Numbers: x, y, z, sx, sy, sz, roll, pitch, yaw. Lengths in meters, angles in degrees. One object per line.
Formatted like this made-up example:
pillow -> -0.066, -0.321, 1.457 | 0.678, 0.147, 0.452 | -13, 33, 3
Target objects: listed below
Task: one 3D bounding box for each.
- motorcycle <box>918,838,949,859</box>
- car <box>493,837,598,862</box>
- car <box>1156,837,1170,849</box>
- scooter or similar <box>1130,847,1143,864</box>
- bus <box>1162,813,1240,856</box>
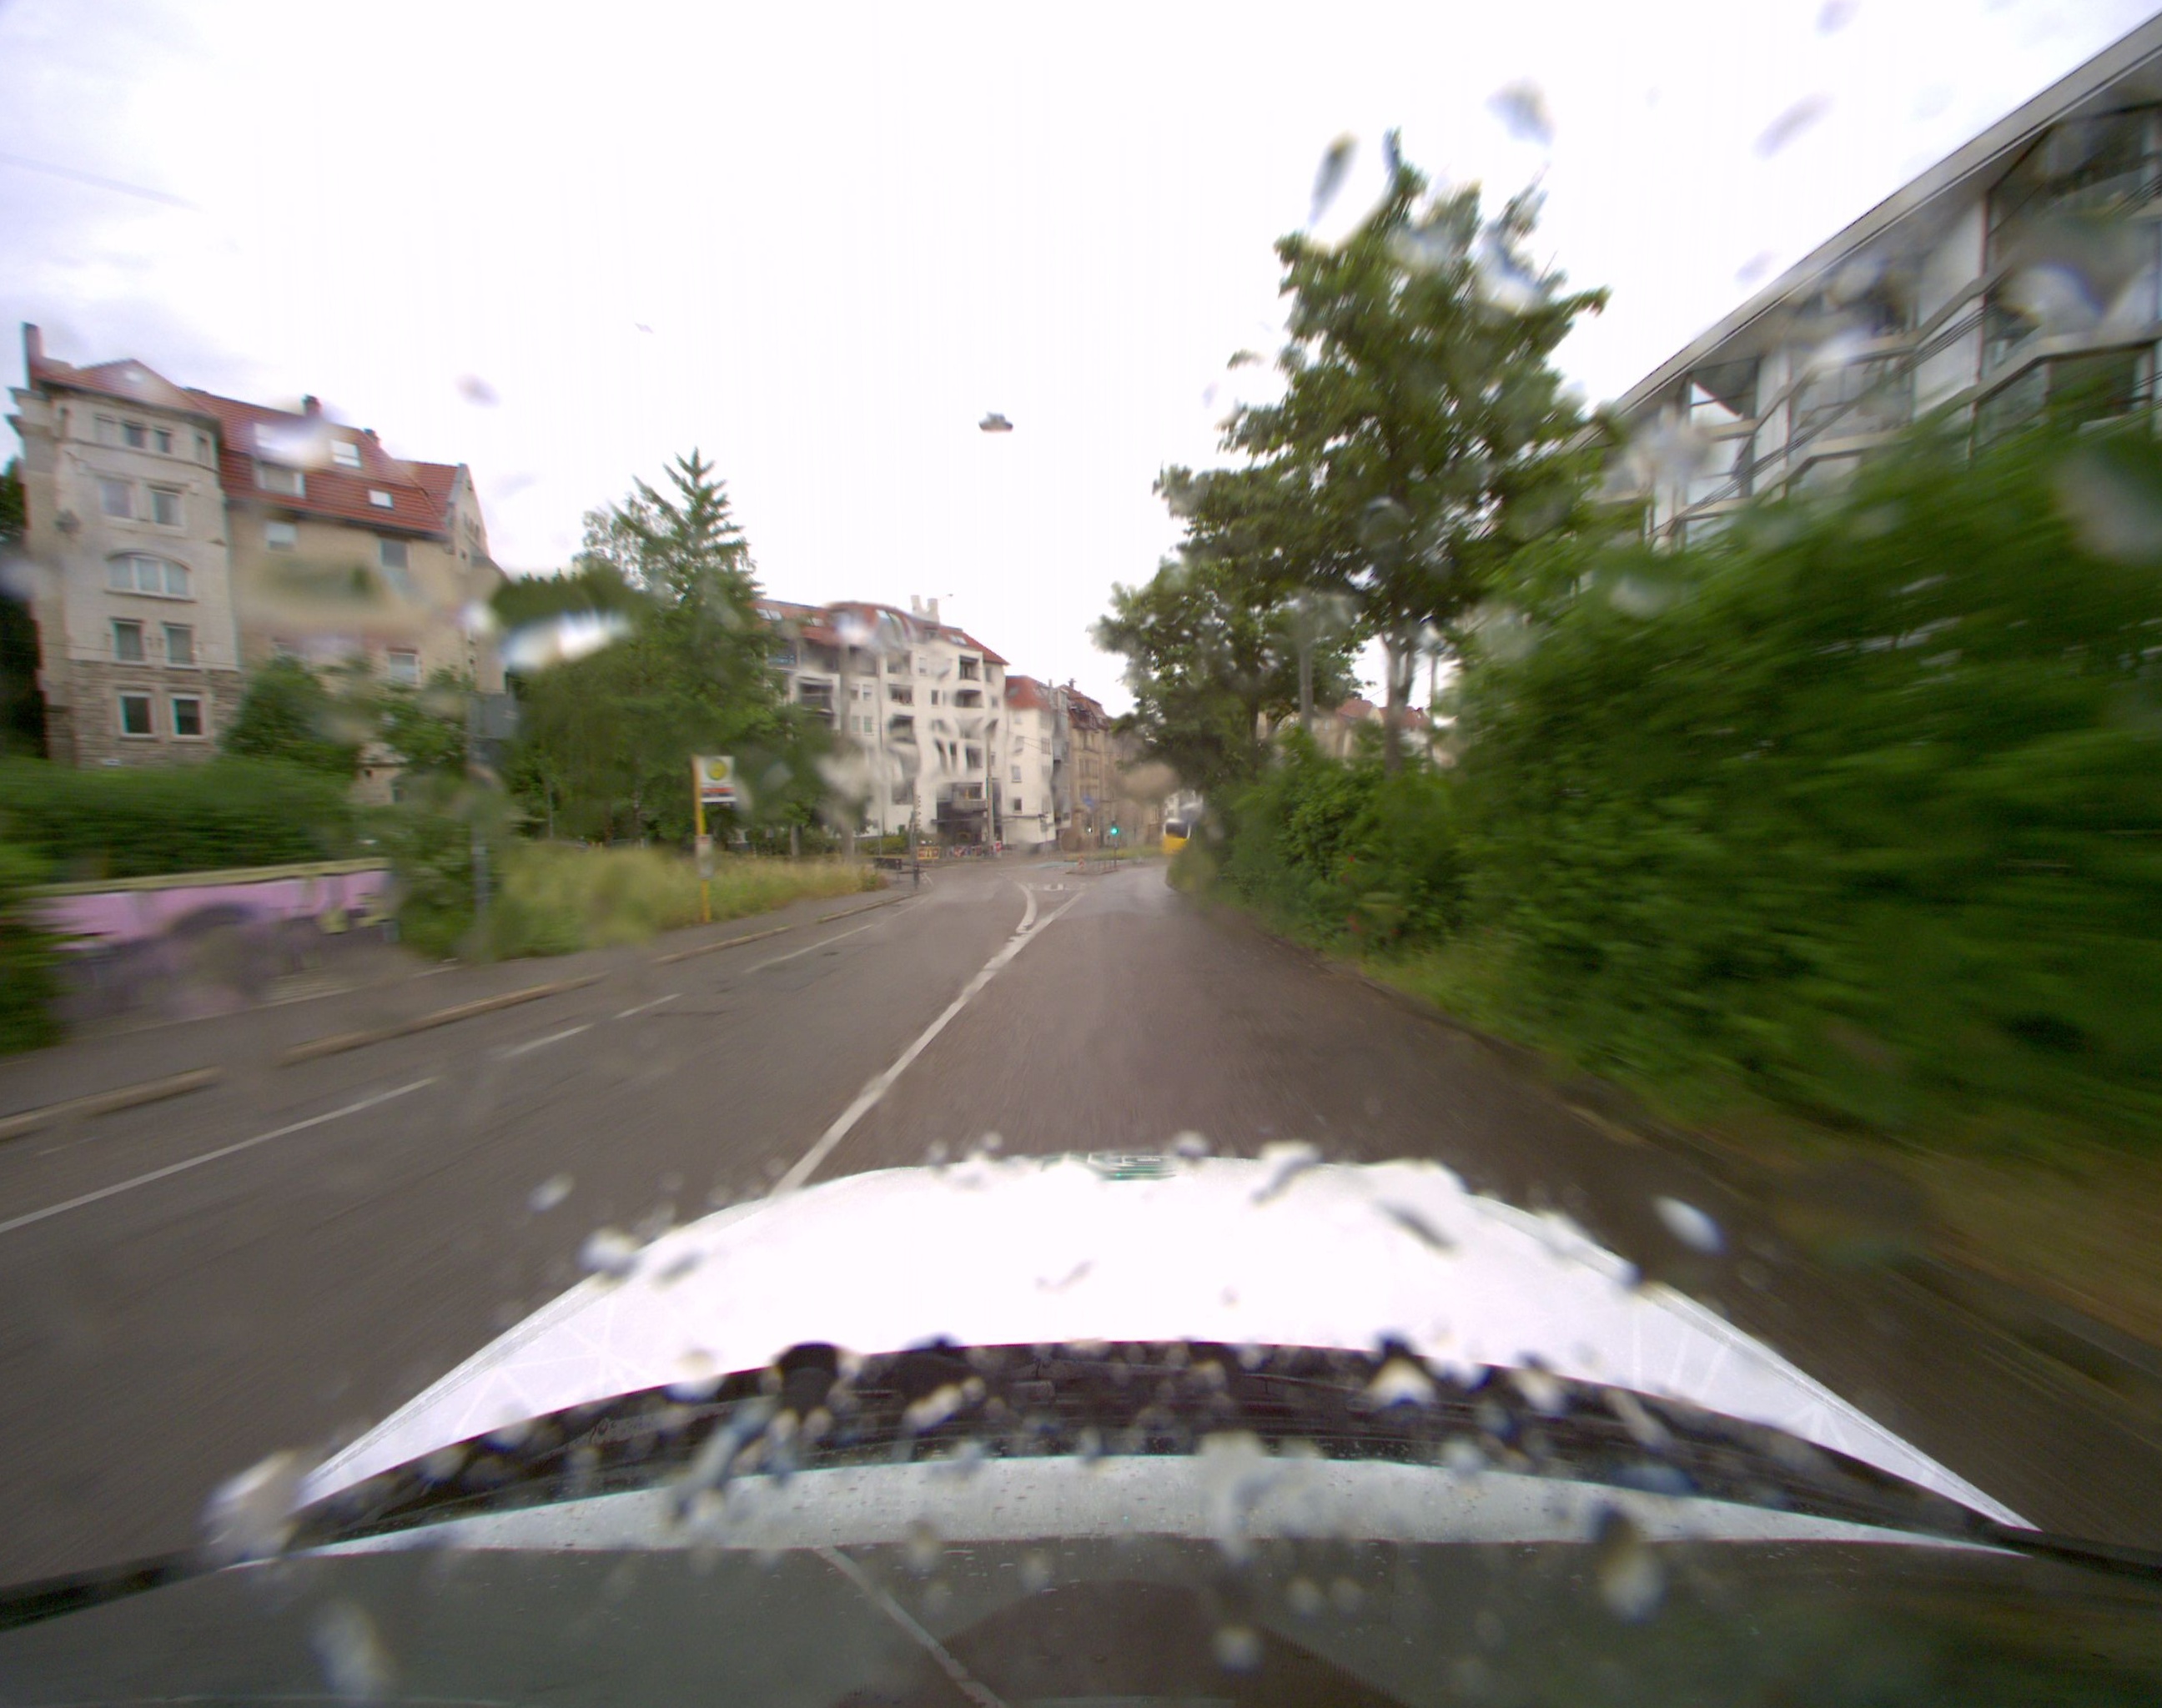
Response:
motorcycle -> -11.216, -0.452, 62.060 | 0.690, 1.550, 2.456 | 5, 4, 38
car -> -27.747, -0.261, 42.272 | 4.379, 1.223, 1.733 | 0, 1, -41
car -> 14.467, -1.943, 144.132 | 2.130, 2.136, 4.858 | 1, 1, 1
scooter or similar -> 3.732, 0.070, 54.705 | 0.429, 1.113, 1.614 | 2, 2, 22
bus -> 10.570, -1.629, 70.775 | 2.565, 3.469, 9.166 | 1, 1, 37
